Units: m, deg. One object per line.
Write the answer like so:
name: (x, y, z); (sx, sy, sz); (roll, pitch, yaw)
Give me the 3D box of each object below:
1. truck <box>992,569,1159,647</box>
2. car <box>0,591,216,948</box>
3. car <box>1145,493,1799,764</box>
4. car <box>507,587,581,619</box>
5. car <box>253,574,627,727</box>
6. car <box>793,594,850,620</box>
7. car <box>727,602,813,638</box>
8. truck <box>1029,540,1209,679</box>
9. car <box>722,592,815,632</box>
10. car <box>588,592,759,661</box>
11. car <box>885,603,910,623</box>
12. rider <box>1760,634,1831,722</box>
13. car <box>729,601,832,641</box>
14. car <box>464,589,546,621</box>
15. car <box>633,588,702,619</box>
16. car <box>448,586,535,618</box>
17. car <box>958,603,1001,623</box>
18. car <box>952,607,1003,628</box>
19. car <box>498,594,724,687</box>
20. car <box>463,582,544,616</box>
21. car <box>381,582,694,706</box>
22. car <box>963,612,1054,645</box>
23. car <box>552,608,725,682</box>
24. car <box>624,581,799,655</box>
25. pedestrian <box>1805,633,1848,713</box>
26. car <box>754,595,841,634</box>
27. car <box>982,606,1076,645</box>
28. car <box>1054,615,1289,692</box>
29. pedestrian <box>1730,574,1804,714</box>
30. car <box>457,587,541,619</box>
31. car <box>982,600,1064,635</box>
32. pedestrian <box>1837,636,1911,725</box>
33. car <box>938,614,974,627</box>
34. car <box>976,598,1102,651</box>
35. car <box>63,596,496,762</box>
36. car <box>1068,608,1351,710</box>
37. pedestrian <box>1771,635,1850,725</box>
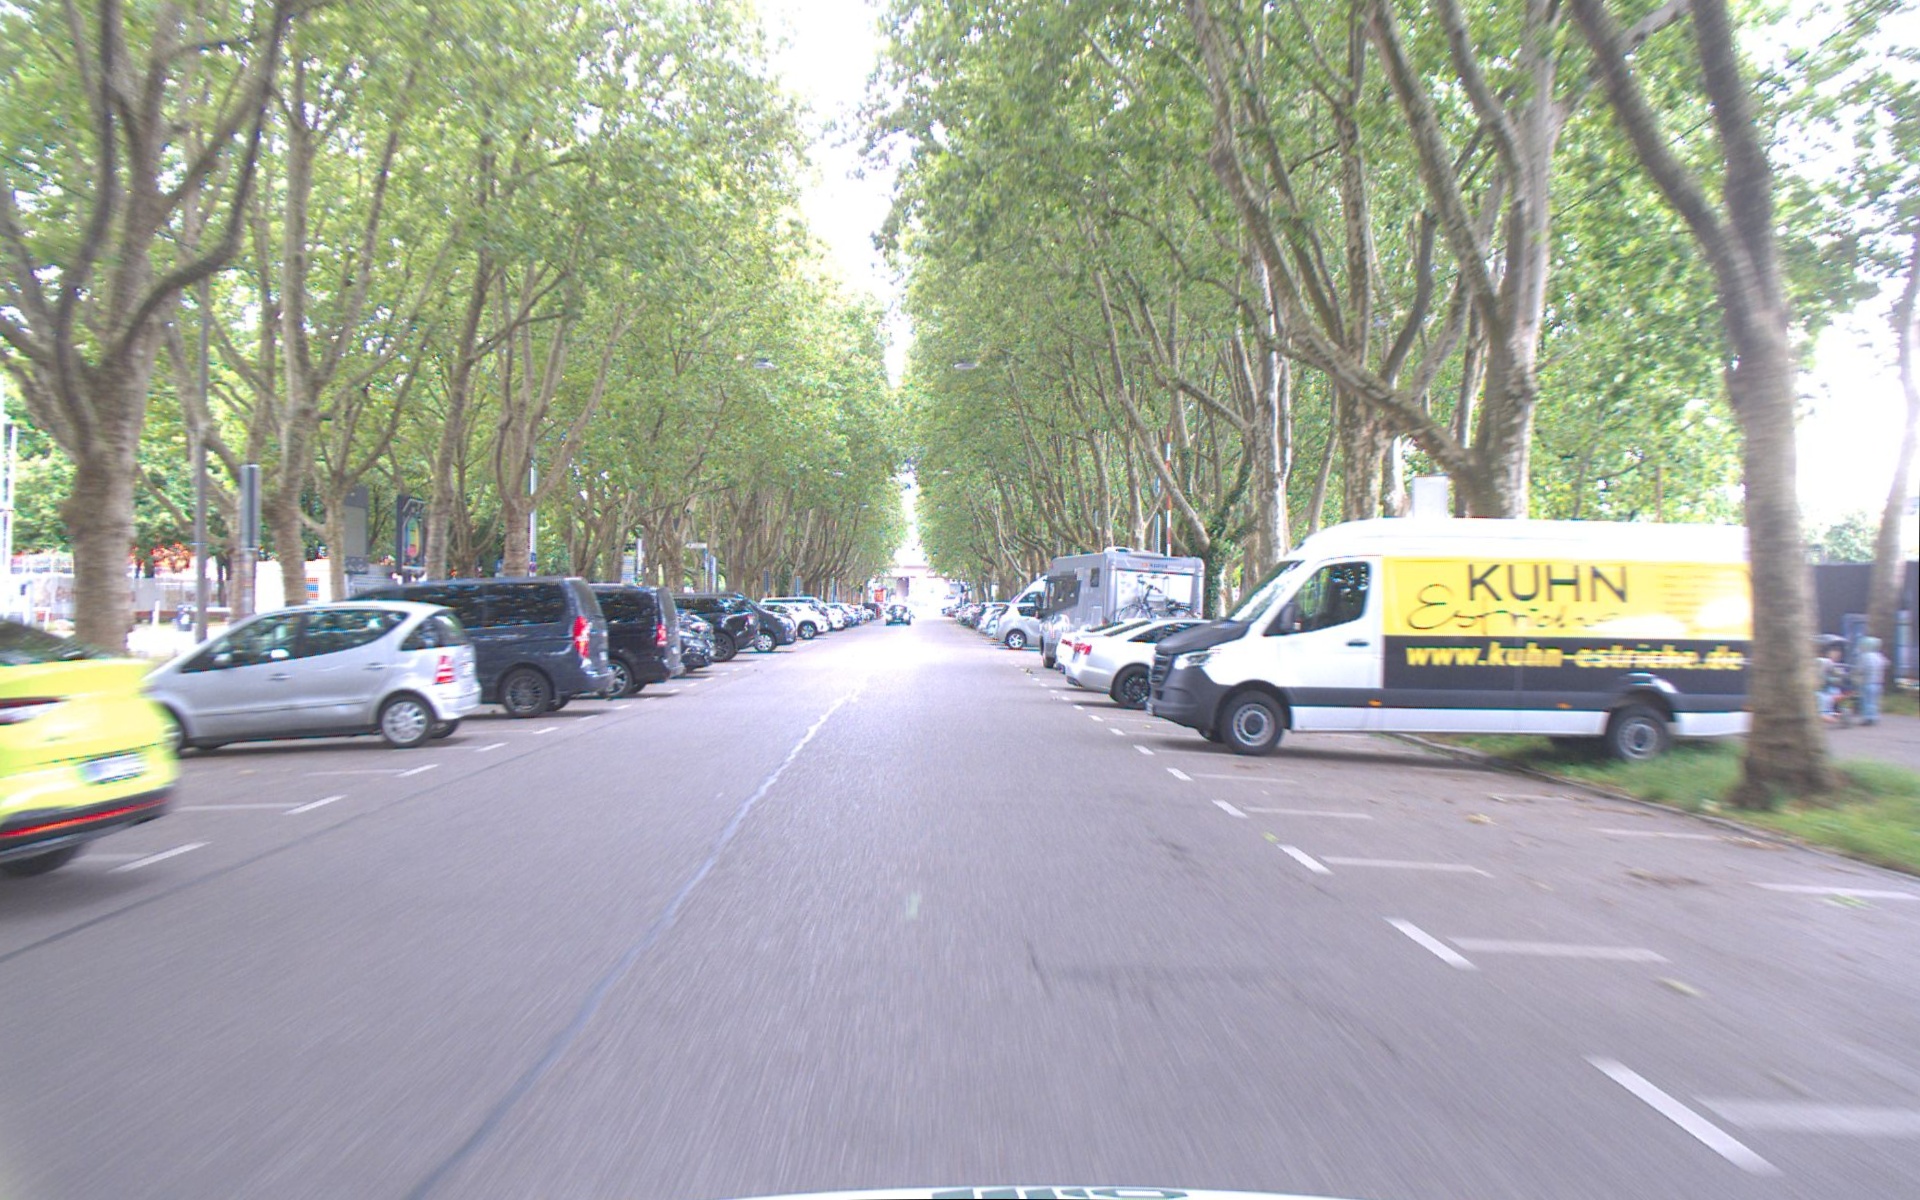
truck: (4.310, 0.314, 62.381); (6.163, 2.762, 2.098); (1, 0, 1)
car: (-6.455, 0.782, 8.532); (4.423, 1.646, 1.758); (0, 0, 1)
car: (5.598, 0.310, 18.747); (6.740, 2.742, 2.127); (1, 0, 0)
car: (-36.326, 0.270, 144.505); (5.880, 2.571, 1.999); (1, 0, -2)
car: (-7.186, 0.667, 23.294); (4.670, 1.958, 2.015); (-1, 0, -6)
car: (-9.350, 0.450, 111.915); (3.752, 1.656, 1.951); (-1, 0, -4)
car: (-9.751, 1.019, 85.133); (4.254, 1.697, 1.999); (-2, 0, -3)
truck: (3.657, 0.215, 39.923); (2.413, 2.989, 7.521); (1, 0, -10)
car: (-9.189, 0.578, 79.490); (4.254, 1.697, 1.999); (-2, 0, -3)
car: (-7.884, 0.727, 45.766); (4.568, 1.852, 1.802); (0, -2, -10)
car: (-4.637, 0.926, 122.069); (1.622, 1.388, 4.108); (-2, 0, -5)
rider: (10.568, 0.981, 20.940); (0.580, 1.067, 0.589); (-2, 0, 2)
car: (-7.739, 0.897, 71.721); (4.292, 1.625, 1.999); (-2, 0, -3)
car: (-35.817, 0.422, 130.217); (5.880, 2.358, 1.999); (1, 0, -2)
car: (-25.647, 0.310, 145.214); (5.668, 2.642, 2.000); (1, 0, -1)
car: (-35.278, 0.175, 124.639); (5.880, 2.292, 1.999); (1, 0, -2)
car: (1.670, 1.121, 142.708); (3.574, 1.696, 1.517); (1, 0, -5)
car: (1.425, 1.413, 136.227); (4.085, 1.624, 1.853); (1, 0, -5)
car: (-7.552, 0.851, 36.054); (4.485, 1.812, 1.798); (-2, 1, 0)
car: (-36.639, -0.084, 132.818); (5.880, 2.571, 1.999); (1, 0, -2)
car: (-7.183, 0.722, 28.552); (4.805, 1.958, 2.208); (-1, 0, -1)
car: (2.391, 1.415, 82.883); (4.412, 1.552, 1.702); (1, 0, -3)
car: (-7.505, 1.022, 38.527); (3.832, 1.520, 1.747); (-2, 0, -15)
car: (-7.953, 0.562, 53.308); (5.327, 2.165, 1.939); (-2, 0, -3)
pedestrian: (11.702, 0.981, 22.330); (0.415, 1.053, 0.391); (2, -1, -41)
car: (-9.295, 0.841, 94.664); (4.795, 2.054, 1.919); (-2, -1, -2)
car: (3.009, 1.123, 72.657); (4.035, 1.454, 1.703); (3, -1, 0)
car: (3.965, 1.006, 31.486); (4.232, 1.325, 1.699); (1, 0, -1)
pedestrian: (10.453, 0.559, 21.439); (0.626, 1.771, 0.621); (-2, 0, 2)
car: (-35.464, 0.243, 127.425); (5.880, 2.292, 1.999); (1, 0, -2)
car: (3.423, 0.936, 89.996); (4.297, 1.786, 1.800); (1, 0, -3)
pedestrian: (11.406, 0.995, 20.652); (0.580, 1.067, 0.589); (-2, 0, 2)
car: (-0.478, 2.452, 196.401); (4.088, 1.467, 1.732); (1, -1, 3)
car: (2.743, 0.842, 57.531); (4.250, 1.646, 1.804); (2, 0, 1)
car: (-7.378, 0.824, 18.276); (4.026, 1.596, 1.756); (-2, 0, -6)
car: (3.871, 0.908, 26.200); (4.268, 1.471, 1.613); (1, 0, 2)
pedestrian: (10.591, 0.983, 20.610); (0.626, 1.078, 0.676); (1, -1, 0)
